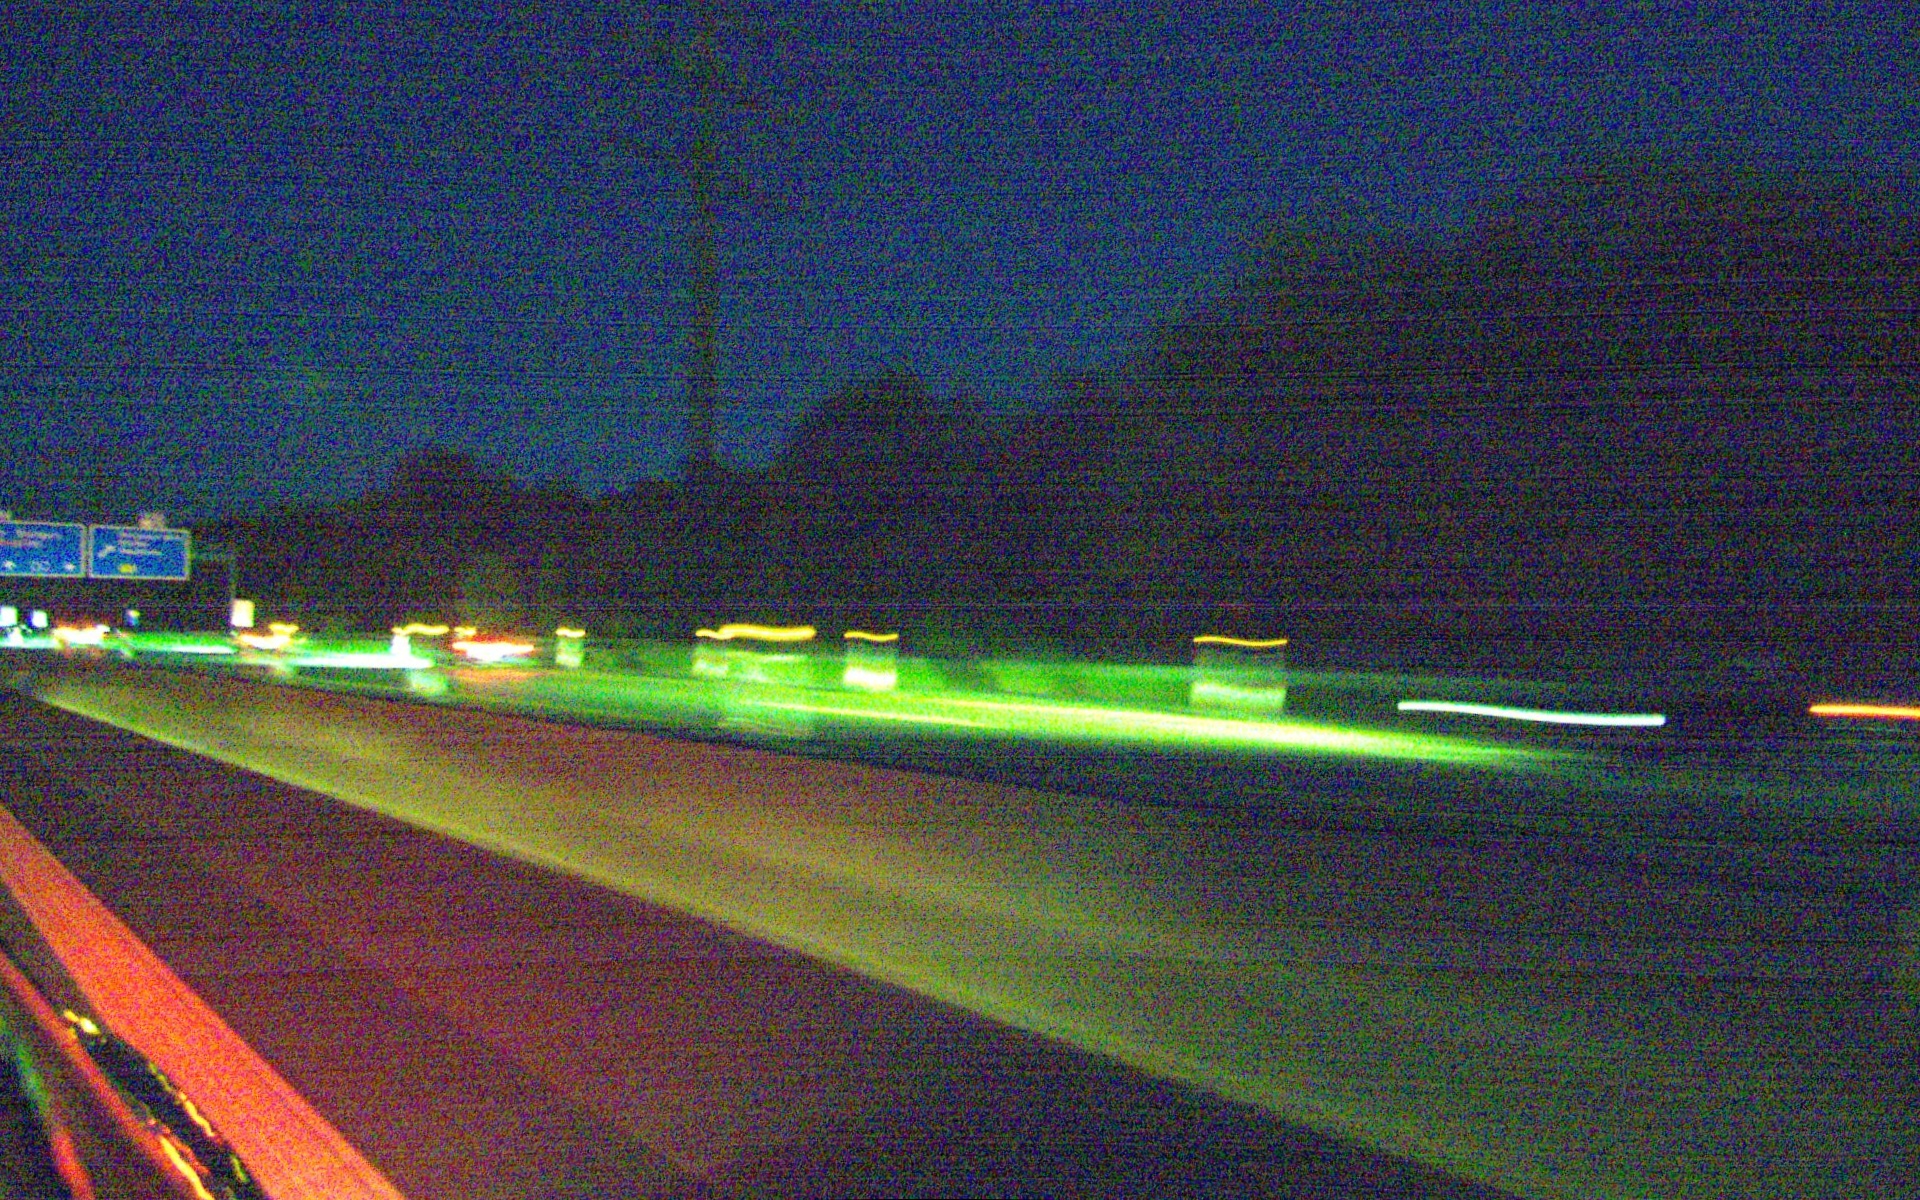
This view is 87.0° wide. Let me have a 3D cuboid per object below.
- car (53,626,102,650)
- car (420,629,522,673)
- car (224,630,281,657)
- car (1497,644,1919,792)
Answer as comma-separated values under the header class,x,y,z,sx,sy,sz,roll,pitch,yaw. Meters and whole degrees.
class,x,y,z,sx,sy,sz,roll,pitch,yaw
car,-56.284,2.436,64.502,4.761,1.490,1.732,-2,-3,42
car,-17.739,1.811,36.589,4.726,1.490,1.731,-2,-3,44
car,-40.929,2.485,58.492,4.481,1.490,1.731,-2,-3,42
car,8.600,1.167,10.804,4.808,1.344,1.644,-2,-3,42
